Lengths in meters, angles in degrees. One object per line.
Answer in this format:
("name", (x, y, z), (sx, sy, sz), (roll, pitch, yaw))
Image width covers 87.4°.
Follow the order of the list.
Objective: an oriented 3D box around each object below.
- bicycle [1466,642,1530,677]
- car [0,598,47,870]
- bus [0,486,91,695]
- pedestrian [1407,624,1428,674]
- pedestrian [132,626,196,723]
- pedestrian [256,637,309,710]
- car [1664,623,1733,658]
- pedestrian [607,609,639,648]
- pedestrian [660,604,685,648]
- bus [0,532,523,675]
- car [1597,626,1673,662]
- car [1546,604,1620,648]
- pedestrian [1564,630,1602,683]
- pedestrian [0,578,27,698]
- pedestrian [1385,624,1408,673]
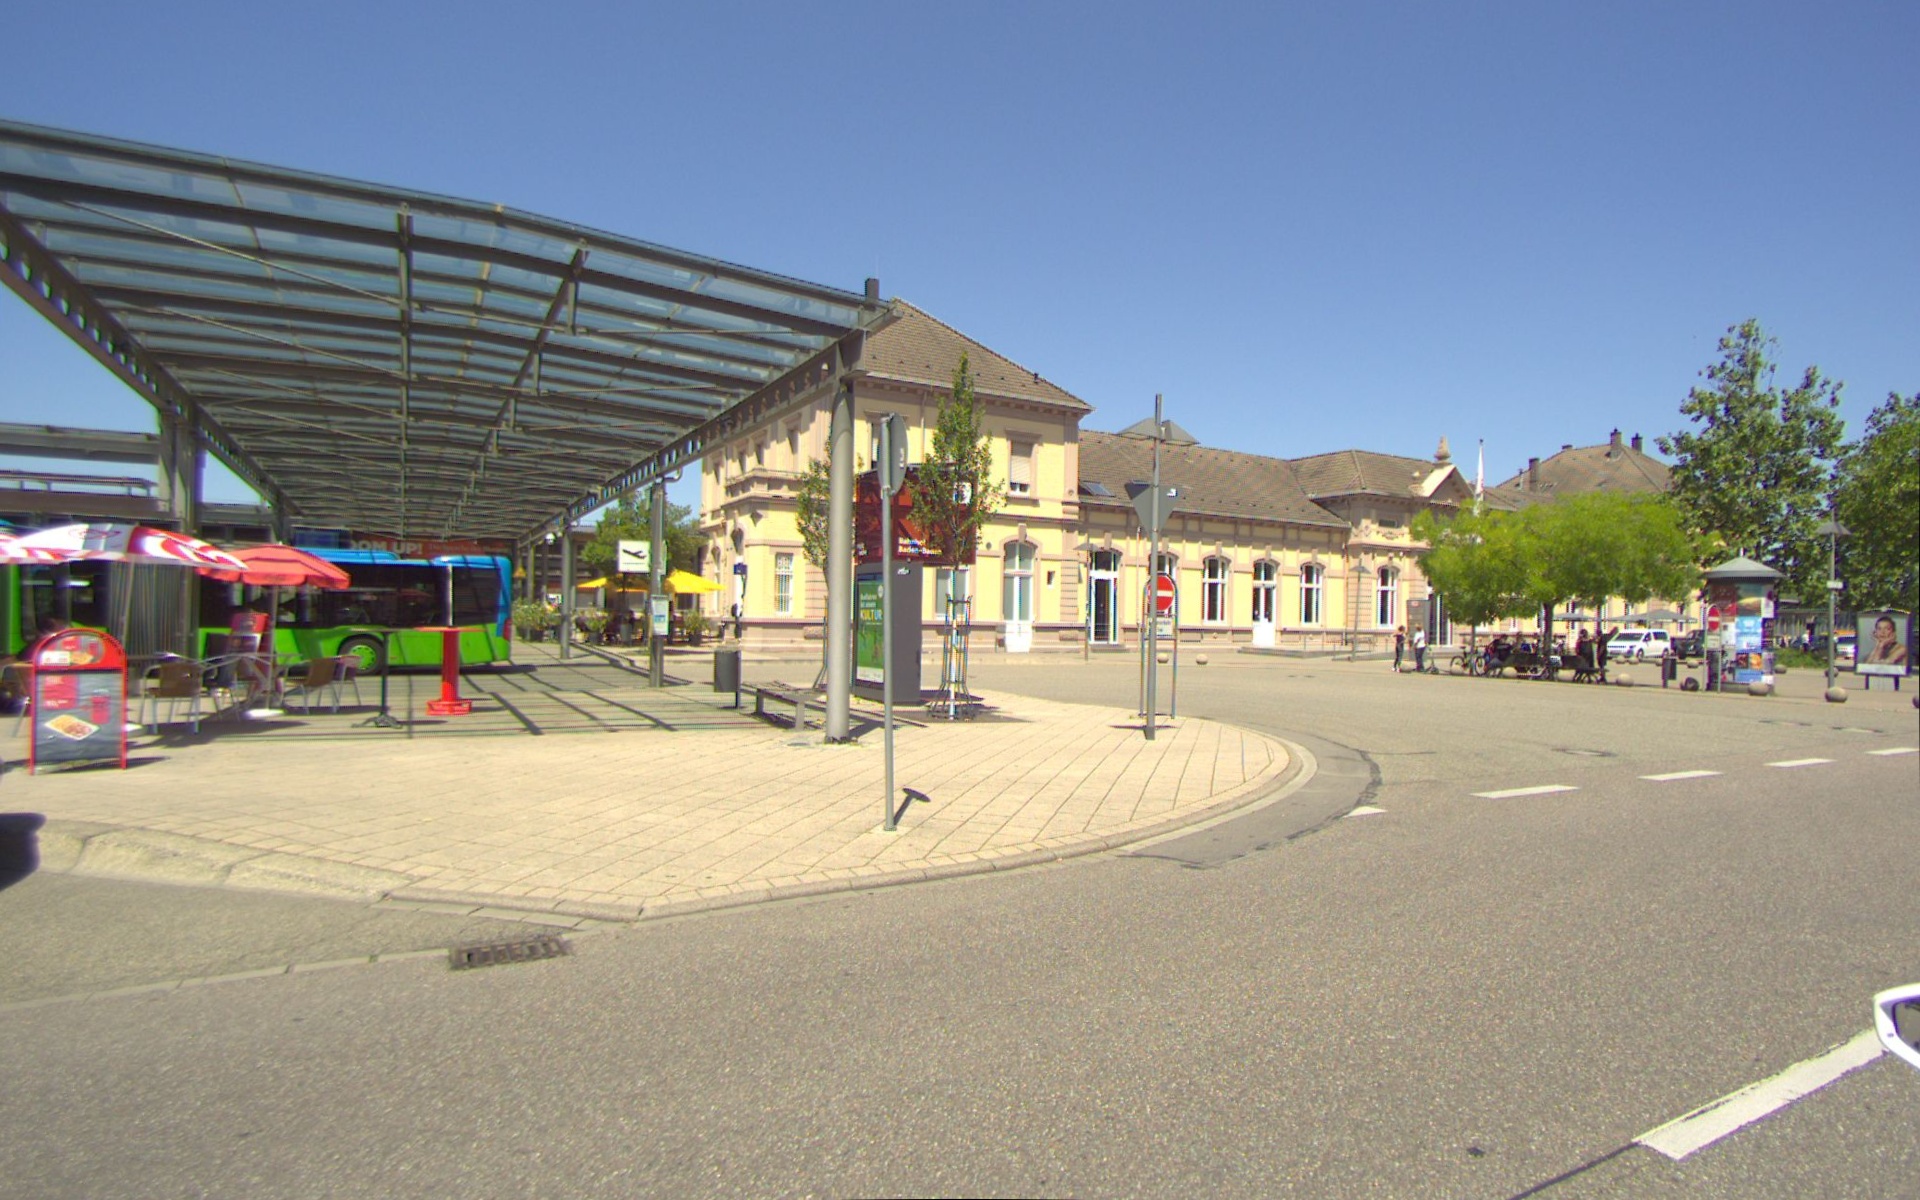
("bicycle", (17.343, 1.900, 32.407), (1.770, 1.044, 0.487), (1, -1, 38))
("car", (-7.234, 0.672, 4.212), (4.732, 1.498, 1.710), (2, -2, -31))
("bus", (-20.486, -0.233, 14.381), (11.701, 3.276, 2.953), (1, -1, -29))
("pedestrian", (16.343, 1.751, 35.889), (0.574, 1.732, 0.588), (2, -2, 14))
("pedestrian", (-9.577, 0.886, 12.095), (0.417, 1.137, 0.372), (2, -2, 5))
("pedestrian", (-8.985, 0.971, 13.326), (0.365, 0.935, 0.425), (1, -2, 31))
("car", (44.760, 2.420, 60.850), (3.953, 2.040, 1.984), (2, -1, -30))
("pedestrian", (-13.284, 1.108, 39.569), (0.952, 1.496, 0.890), (1, -1, -39))
("pedestrian", (-11.299, 1.006, 39.508), (0.772, 1.708, 0.659), (0, 0, -37))
("bus", (-18.855, 0.140, 24.026), (15.312, 3.077, 2.858), (1, -1, -26))
("car", (38.638, 2.509, 57.473), (4.720, 1.942, 1.743), (2, -2, -30))
("car", (37.877, 1.593, 61.035), (4.948, 2.501, 1.710), (2, 0, -31))
("pedestrian", (20.346, 1.836, 32.825), (0.708, 1.681, 0.761), (3, -2, -13))
("pedestrian", (-15.327, 0.558, 15.412), (1.123, 1.851, 0.800), (3, -2, -13))
("pedestrian", (15.653, 1.730, 36.031), (0.644, 1.695, 0.632), (2, -2, 14))
